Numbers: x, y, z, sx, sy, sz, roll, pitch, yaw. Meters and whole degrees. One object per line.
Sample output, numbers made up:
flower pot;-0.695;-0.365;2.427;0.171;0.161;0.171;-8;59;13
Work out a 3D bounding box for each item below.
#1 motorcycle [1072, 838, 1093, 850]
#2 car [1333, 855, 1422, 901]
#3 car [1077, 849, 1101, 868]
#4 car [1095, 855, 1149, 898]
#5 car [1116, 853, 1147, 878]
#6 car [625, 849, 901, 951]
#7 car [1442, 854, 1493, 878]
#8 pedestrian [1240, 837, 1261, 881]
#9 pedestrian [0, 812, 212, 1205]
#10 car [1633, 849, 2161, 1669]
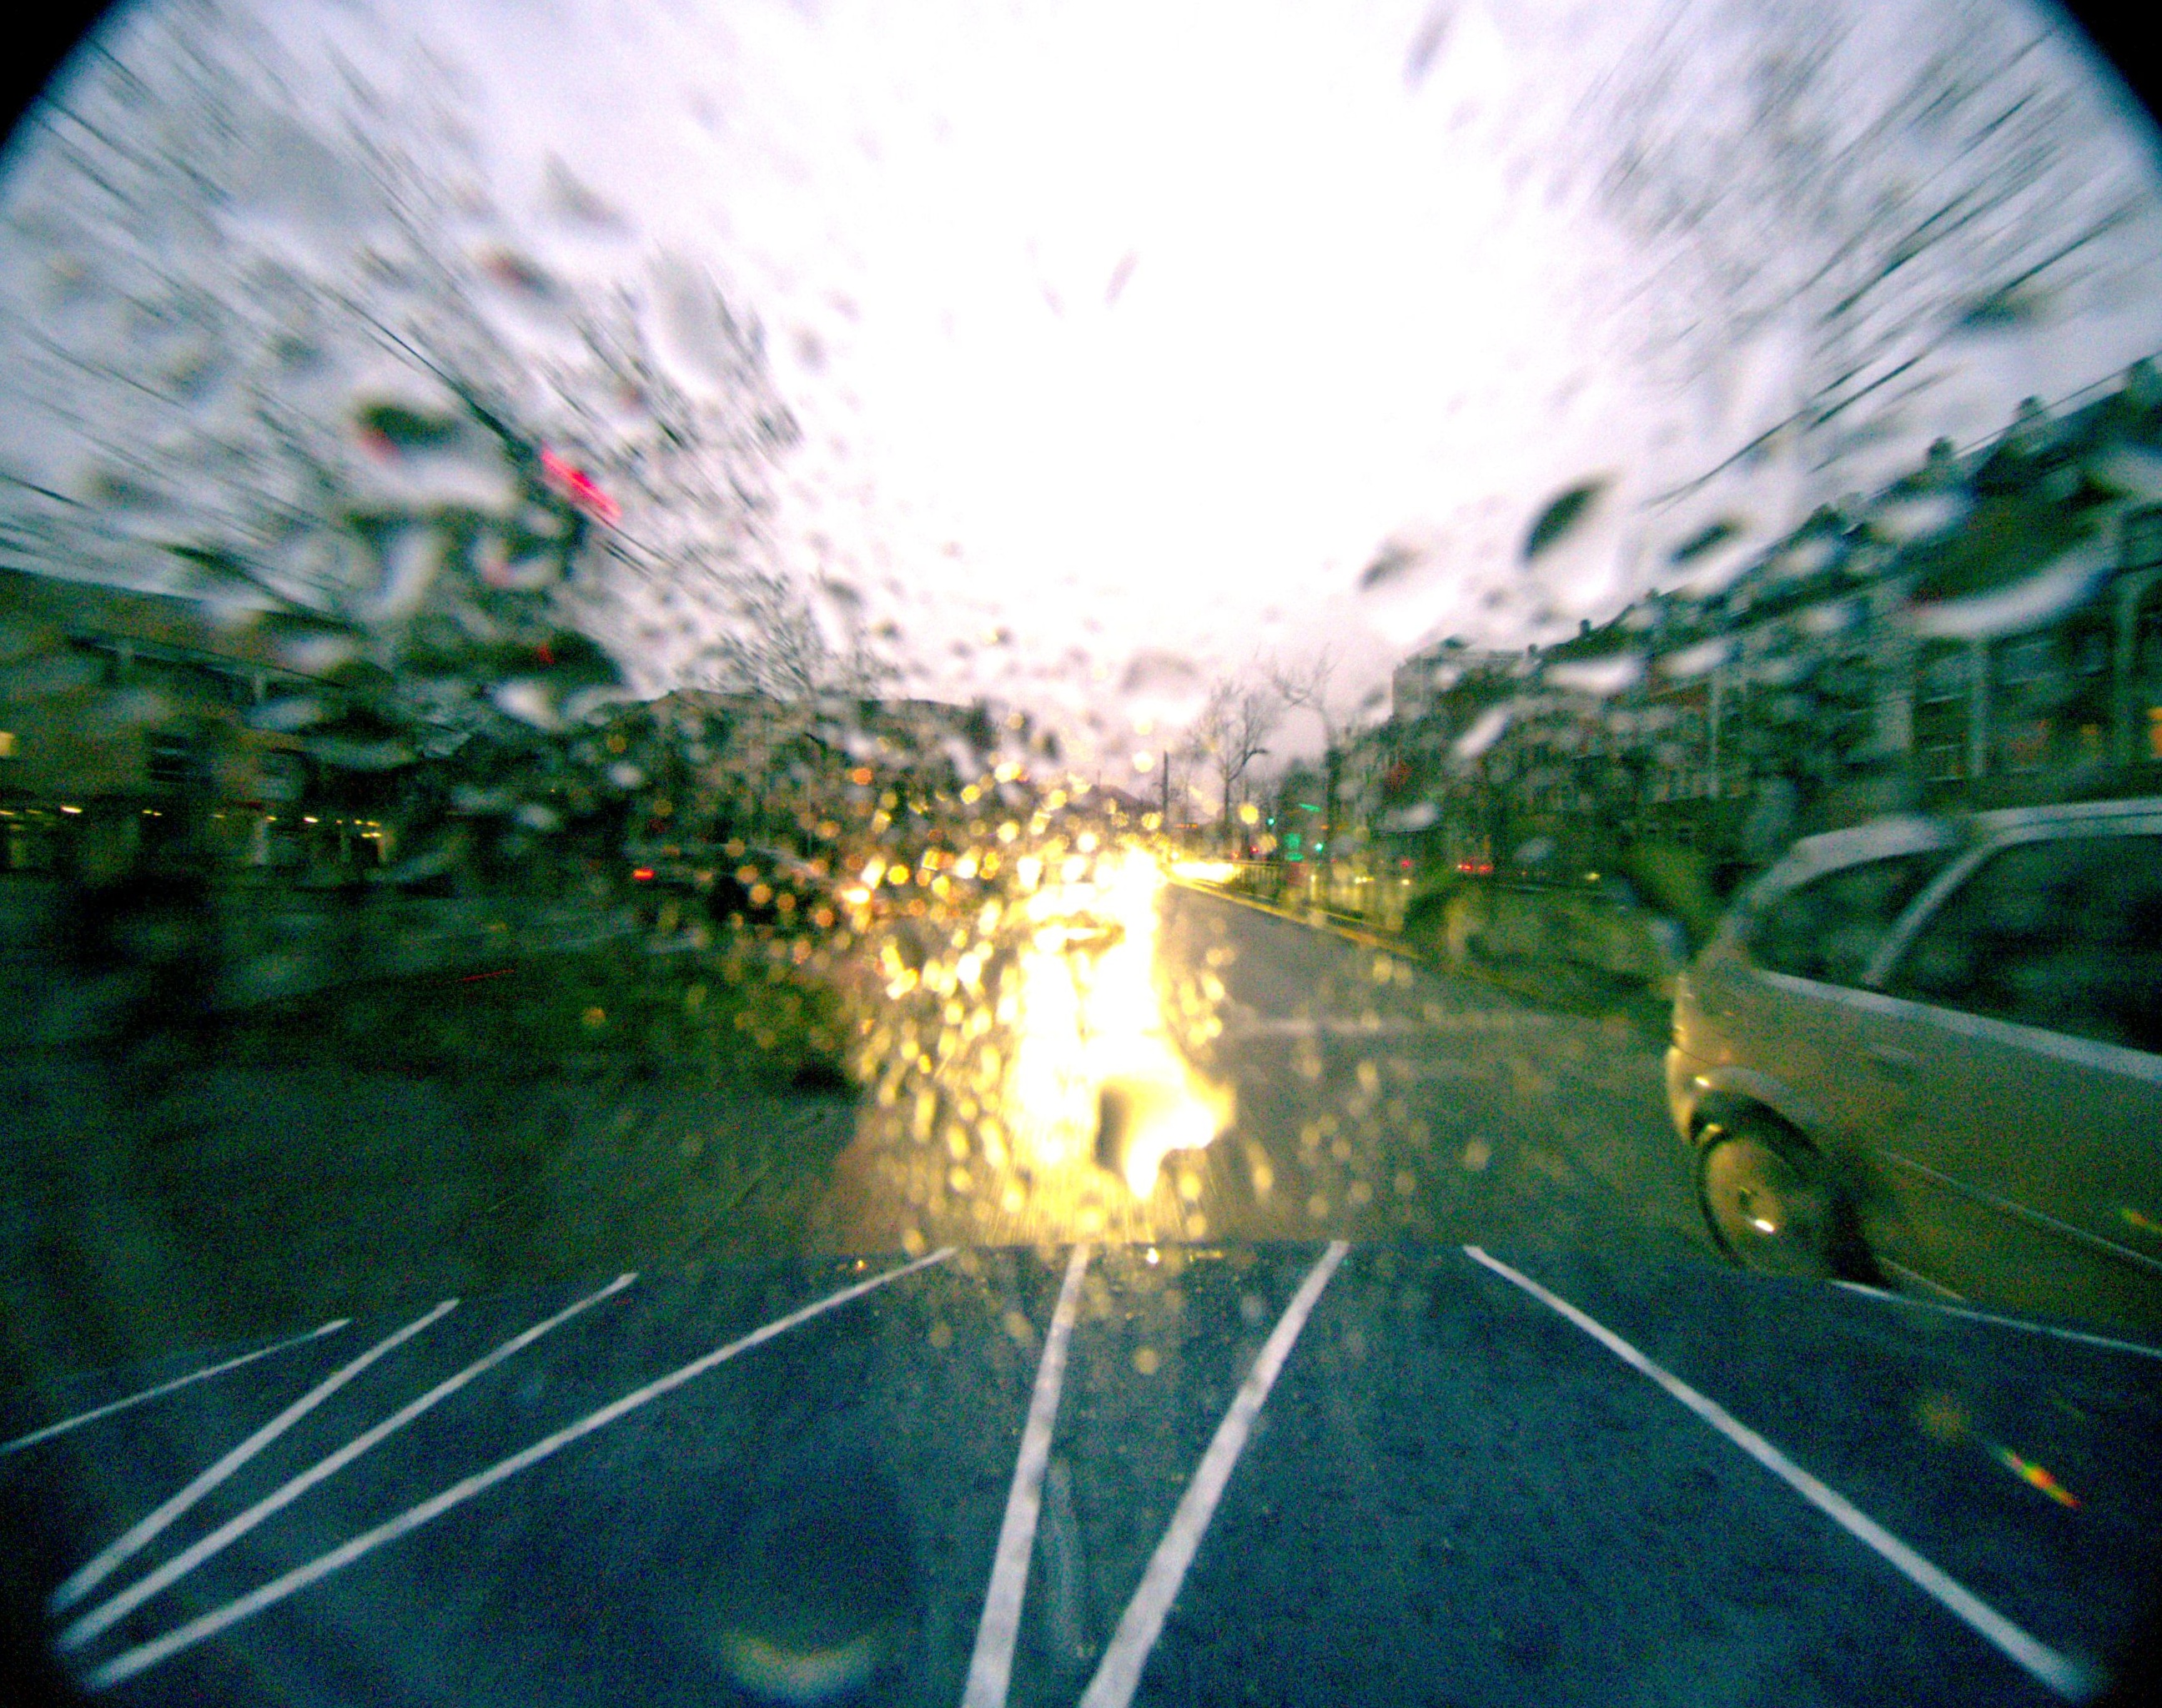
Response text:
motorcycle;0.342;-1.918;144.653;3.997;2.002;0.926;-2;2;1
car;10.501;0.792;27.201;1.667;1.477;4.000;1;1;1
car;0.661;0.343;62.157;1.813;1.385;4.053;-1;1;1
car;1.421;0.786;27.896;1.813;1.385;4.053;-1;1;1
car;3.243;0.703;49.476;1.813;1.488;4.053;-1;1;1
car;-5.335;0.730;13.102;3.996;1.547;1.742;1;1;2
car;25.147;0.752;49.566;1.682;1.399;3.259;1;1;1
pedestrian;7.834;0.236;35.193;0.876;2.002;0.931;2;1;12
pedestrian;-4.965;0.710;3.852;0.506;1.814;0.656;0;1;-25
car;3.044;0.812;0.903;1.814;1.591;4.053;-1;1;0
